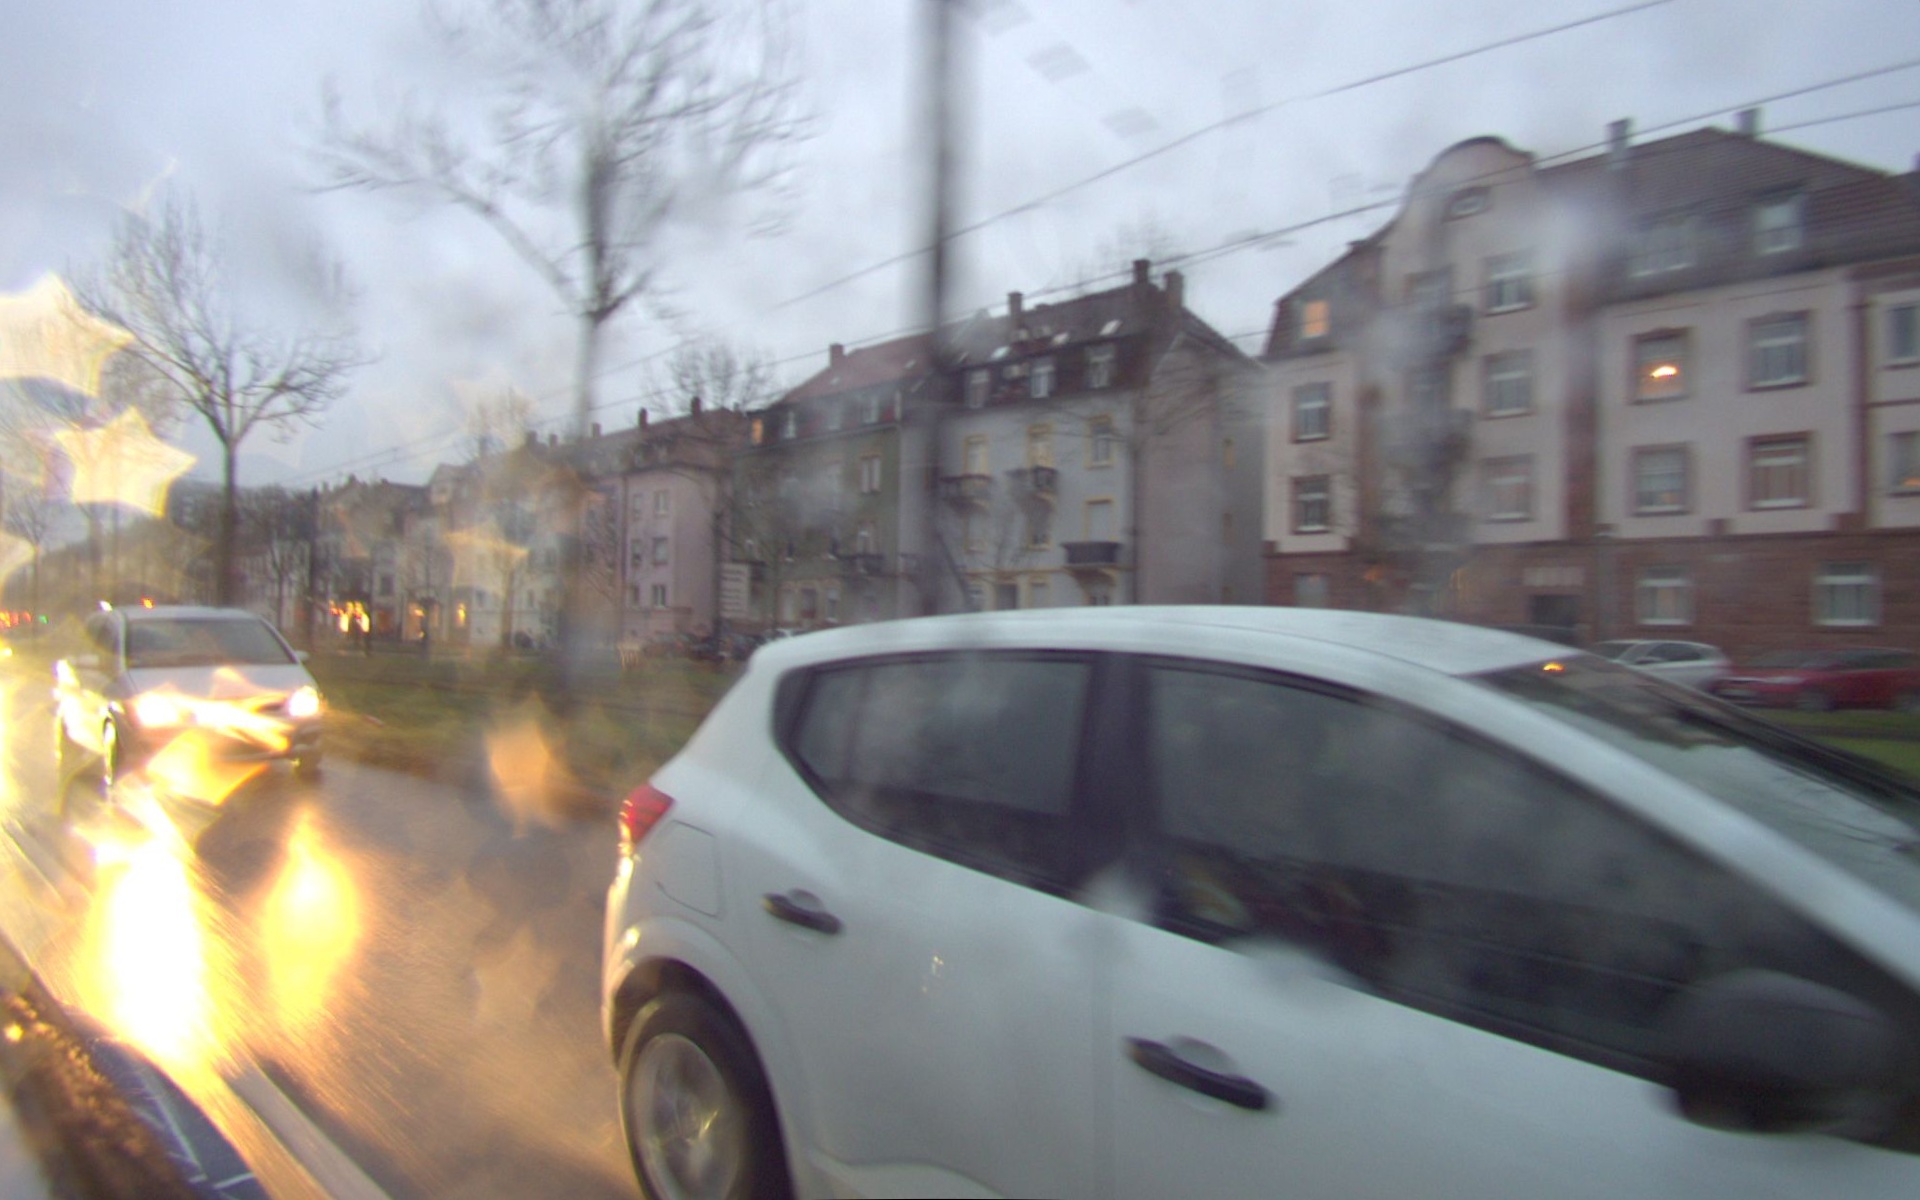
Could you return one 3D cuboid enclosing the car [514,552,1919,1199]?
[{"bbox_3d":[0.976,0.710,1.880,3.996,1.485,1.672,-1,-1,39],"label":"car"}]

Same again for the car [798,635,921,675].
[{"bbox_3d":[-3.963,2.127,39.715,4.586,1.443,1.698,0,-1,-13],"label":"car"}]

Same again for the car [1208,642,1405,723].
[{"bbox_3d":[7.505,1.731,22.146,3.782,1.516,1.529,-1,-1,42],"label":"car"}]

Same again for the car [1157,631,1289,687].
[{"bbox_3d":[7.697,1.693,29.656,3.305,1.428,1.884,0,1,-24],"label":"car"}]

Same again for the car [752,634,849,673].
[{"bbox_3d":[-6.632,2.209,42.187,3.888,1.459,1.823,-1,-1,-9],"label":"car"}]

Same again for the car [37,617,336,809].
[{"bbox_3d":[-7.806,0.950,10.086,3.905,1.531,1.617,-1,-1,41],"label":"car"}]

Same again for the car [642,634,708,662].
[{"bbox_3d":[-14.616,2.427,51.804,3.910,1.350,1.449,-1,-1,43],"label":"car"}]

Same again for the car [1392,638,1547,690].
[{"bbox_3d":[12.338,1.526,24.595,2.870,0.997,1.800,-2,1,-14],"label":"car"}]

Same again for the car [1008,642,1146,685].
[{"bbox_3d":[3.853,2.099,33.628,4.198,1.267,1.837,0,-1,-8],"label":"car"}]

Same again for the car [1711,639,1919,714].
[{"bbox_3d":[17.881,1.523,20.703,4.039,1.169,1.716,-2,1,-10],"label":"car"}]

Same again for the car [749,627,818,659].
[{"bbox_3d":[-9.136,2.202,52.342,3.536,1.563,1.662,-1,-1,41],"label":"car"}]

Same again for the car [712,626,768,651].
[{"bbox_3d":[-14.539,2.543,67.098,1.611,1.555,3.318,-1,-1,42],"label":"car"}]

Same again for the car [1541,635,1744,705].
[{"bbox_3d":[15.165,1.524,22.515,3.977,1.239,1.352,-2,1,-13],"label":"car"}]

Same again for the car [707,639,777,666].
[{"bbox_3d":[-10.482,2.501,48.469,3.899,1.177,1.217,-1,-1,42],"label":"car"}]
